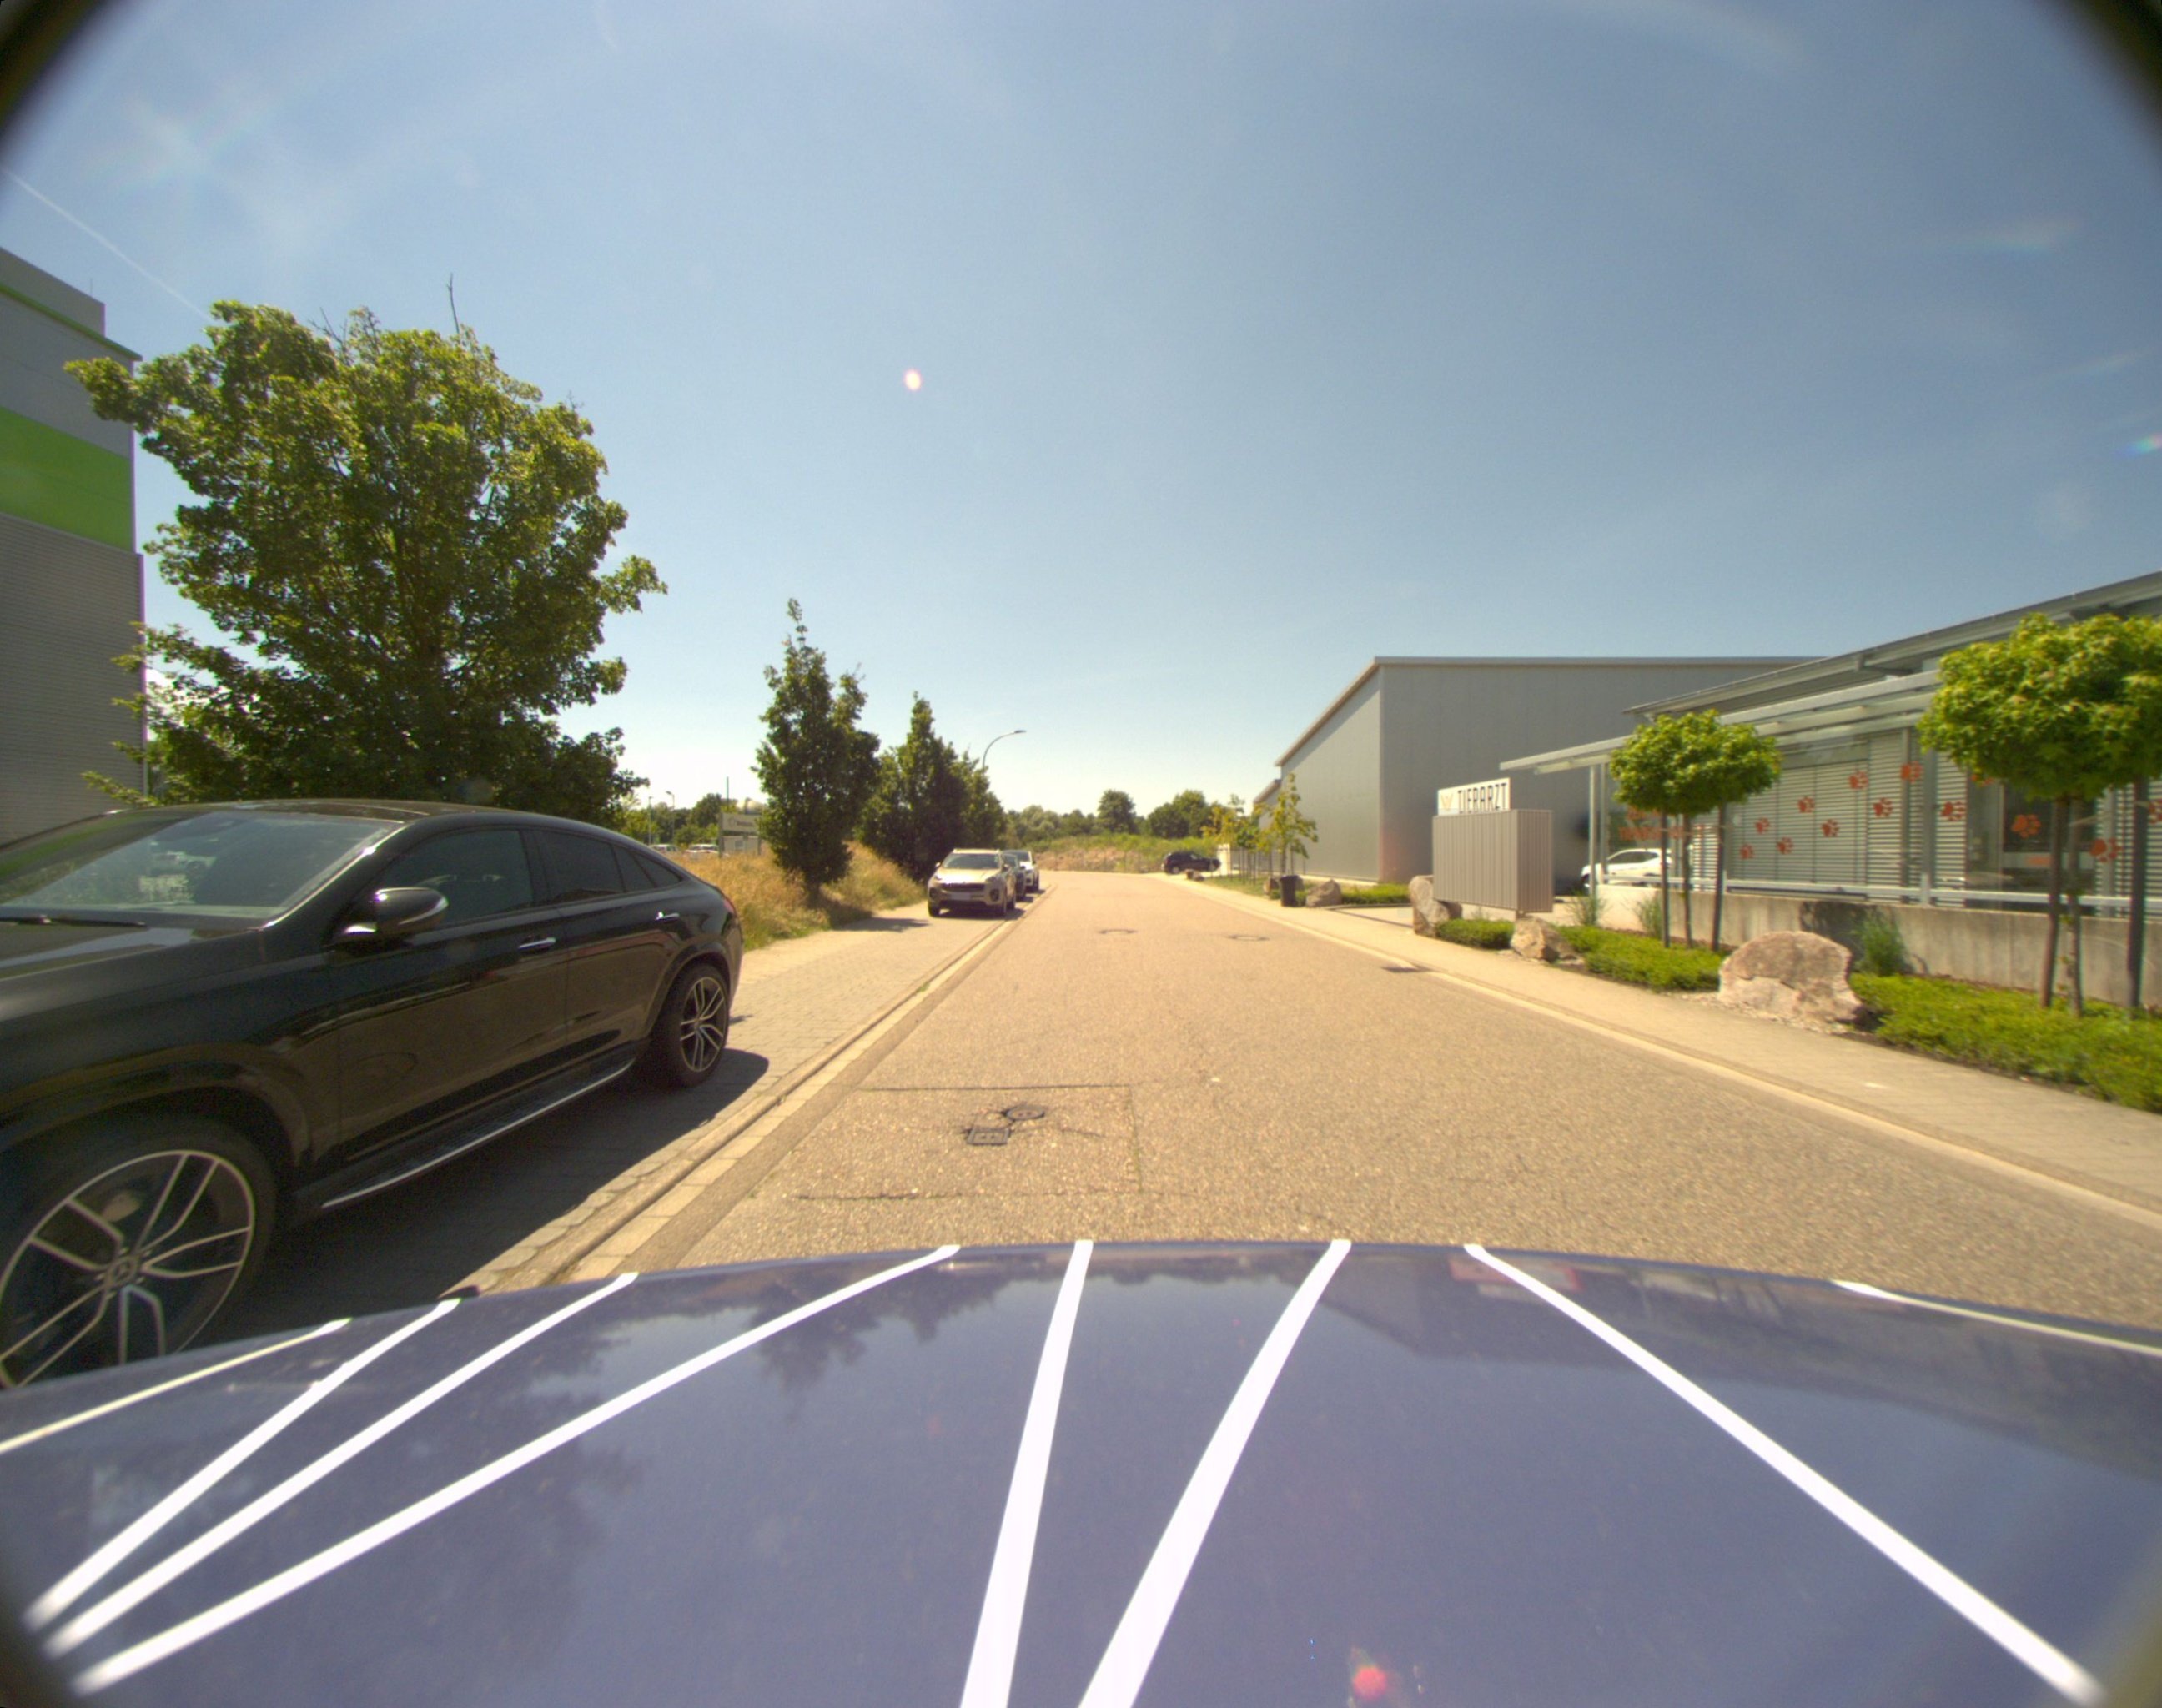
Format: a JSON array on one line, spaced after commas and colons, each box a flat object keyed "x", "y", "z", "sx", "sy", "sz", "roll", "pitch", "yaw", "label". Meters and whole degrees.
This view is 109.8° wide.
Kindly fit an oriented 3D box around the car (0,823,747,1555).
[{"x": -3.430, "y": 0.746, "z": 3.173, "sx": 1.954, "sy": 1.691, "sz": 4.545, "roll": 2, "pitch": 0, "yaw": 1, "label": "car"}]

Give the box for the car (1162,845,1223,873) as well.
[{"x": 8.304, "y": 0.365, "z": 56.828, "sx": 4.172, "sy": 1.649, "sz": 1.781, "roll": -5, "pitch": 1, "yaw": 1, "label": "car"}]

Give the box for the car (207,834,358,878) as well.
[{"x": -34.952, "y": 0.116, "z": 33.470, "sx": 1.998, "sy": 1.775, "sz": 4.402, "roll": 1, "pitch": -1, "yaw": 0, "label": "car"}]

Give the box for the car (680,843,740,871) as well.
[{"x": -24.754, "y": 0.182, "z": 50.884, "sx": 1.952, "sy": 1.776, "sz": 4.399, "roll": 0, "pitch": 1, "yaw": -1, "label": "car"}]

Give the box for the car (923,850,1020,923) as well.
[{"x": -2.698, "y": 0.744, "z": 19.720, "sx": 1.809, "sy": 1.626, "sz": 4.458, "roll": 2, "pitch": 0, "yaw": 0, "label": "car"}]

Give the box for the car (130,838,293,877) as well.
[{"x": -37.585, "y": 0.178, "z": 33.056, "sx": 1.998, "sy": 1.572, "sz": 4.402, "roll": 1, "pitch": -1, "yaw": 0, "label": "car"}]

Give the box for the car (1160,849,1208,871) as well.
[{"x": 8.064, "y": 0.441, "z": 59.506, "sx": 3.369, "sy": 1.453, "sz": 1.781, "roll": -5, "pitch": 1, "yaw": -2, "label": "car"}]

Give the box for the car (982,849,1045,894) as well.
[{"x": -2.765, "y": 0.680, "z": 32.144, "sx": 2.149, "sy": 1.689, "sz": 4.785, "roll": 2, "pitch": 0, "yaw": 0, "label": "car"}]

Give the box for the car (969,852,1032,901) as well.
[{"x": -2.744, "y": 0.725, "z": 26.706, "sx": 1.909, "sy": 1.520, "sz": 4.628, "roll": 2, "pitch": 0, "yaw": -3, "label": "car"}]

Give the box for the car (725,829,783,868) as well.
[{"x": -24.227, "y": -0.434, "z": 56.519, "sx": 1.998, "sy": 2.727, "sz": 4.752, "roll": 1, "pitch": 1, "yaw": 5, "label": "car"}]

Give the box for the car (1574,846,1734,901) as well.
[{"x": 18.104, "y": 0.579, "z": 24.276, "sx": 1.912, "sy": 1.575, "sz": 3.998, "roll": -1, "pitch": 0, "yaw": -5, "label": "car"}]

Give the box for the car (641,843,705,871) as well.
[{"x": -27.300, "y": 0.169, "z": 51.024, "sx": 1.937, "sy": 1.776, "sz": 4.400, "roll": 0, "pitch": 1, "yaw": 1, "label": "car"}]

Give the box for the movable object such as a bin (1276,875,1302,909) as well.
[{"x": 6.021, "y": 1.084, "z": 21.986, "sx": 0.572, "sy": 0.944, "sz": 0.512, "roll": -1, "pitch": 1, "yaw": -5, "label": "movable object such as a bin"}]

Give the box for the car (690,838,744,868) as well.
[{"x": -26.960, "y": -0.125, "z": 56.501, "sx": 1.952, "sy": 2.132, "sz": 4.399, "roll": 0, "pitch": 1, "yaw": -1, "label": "car"}]
